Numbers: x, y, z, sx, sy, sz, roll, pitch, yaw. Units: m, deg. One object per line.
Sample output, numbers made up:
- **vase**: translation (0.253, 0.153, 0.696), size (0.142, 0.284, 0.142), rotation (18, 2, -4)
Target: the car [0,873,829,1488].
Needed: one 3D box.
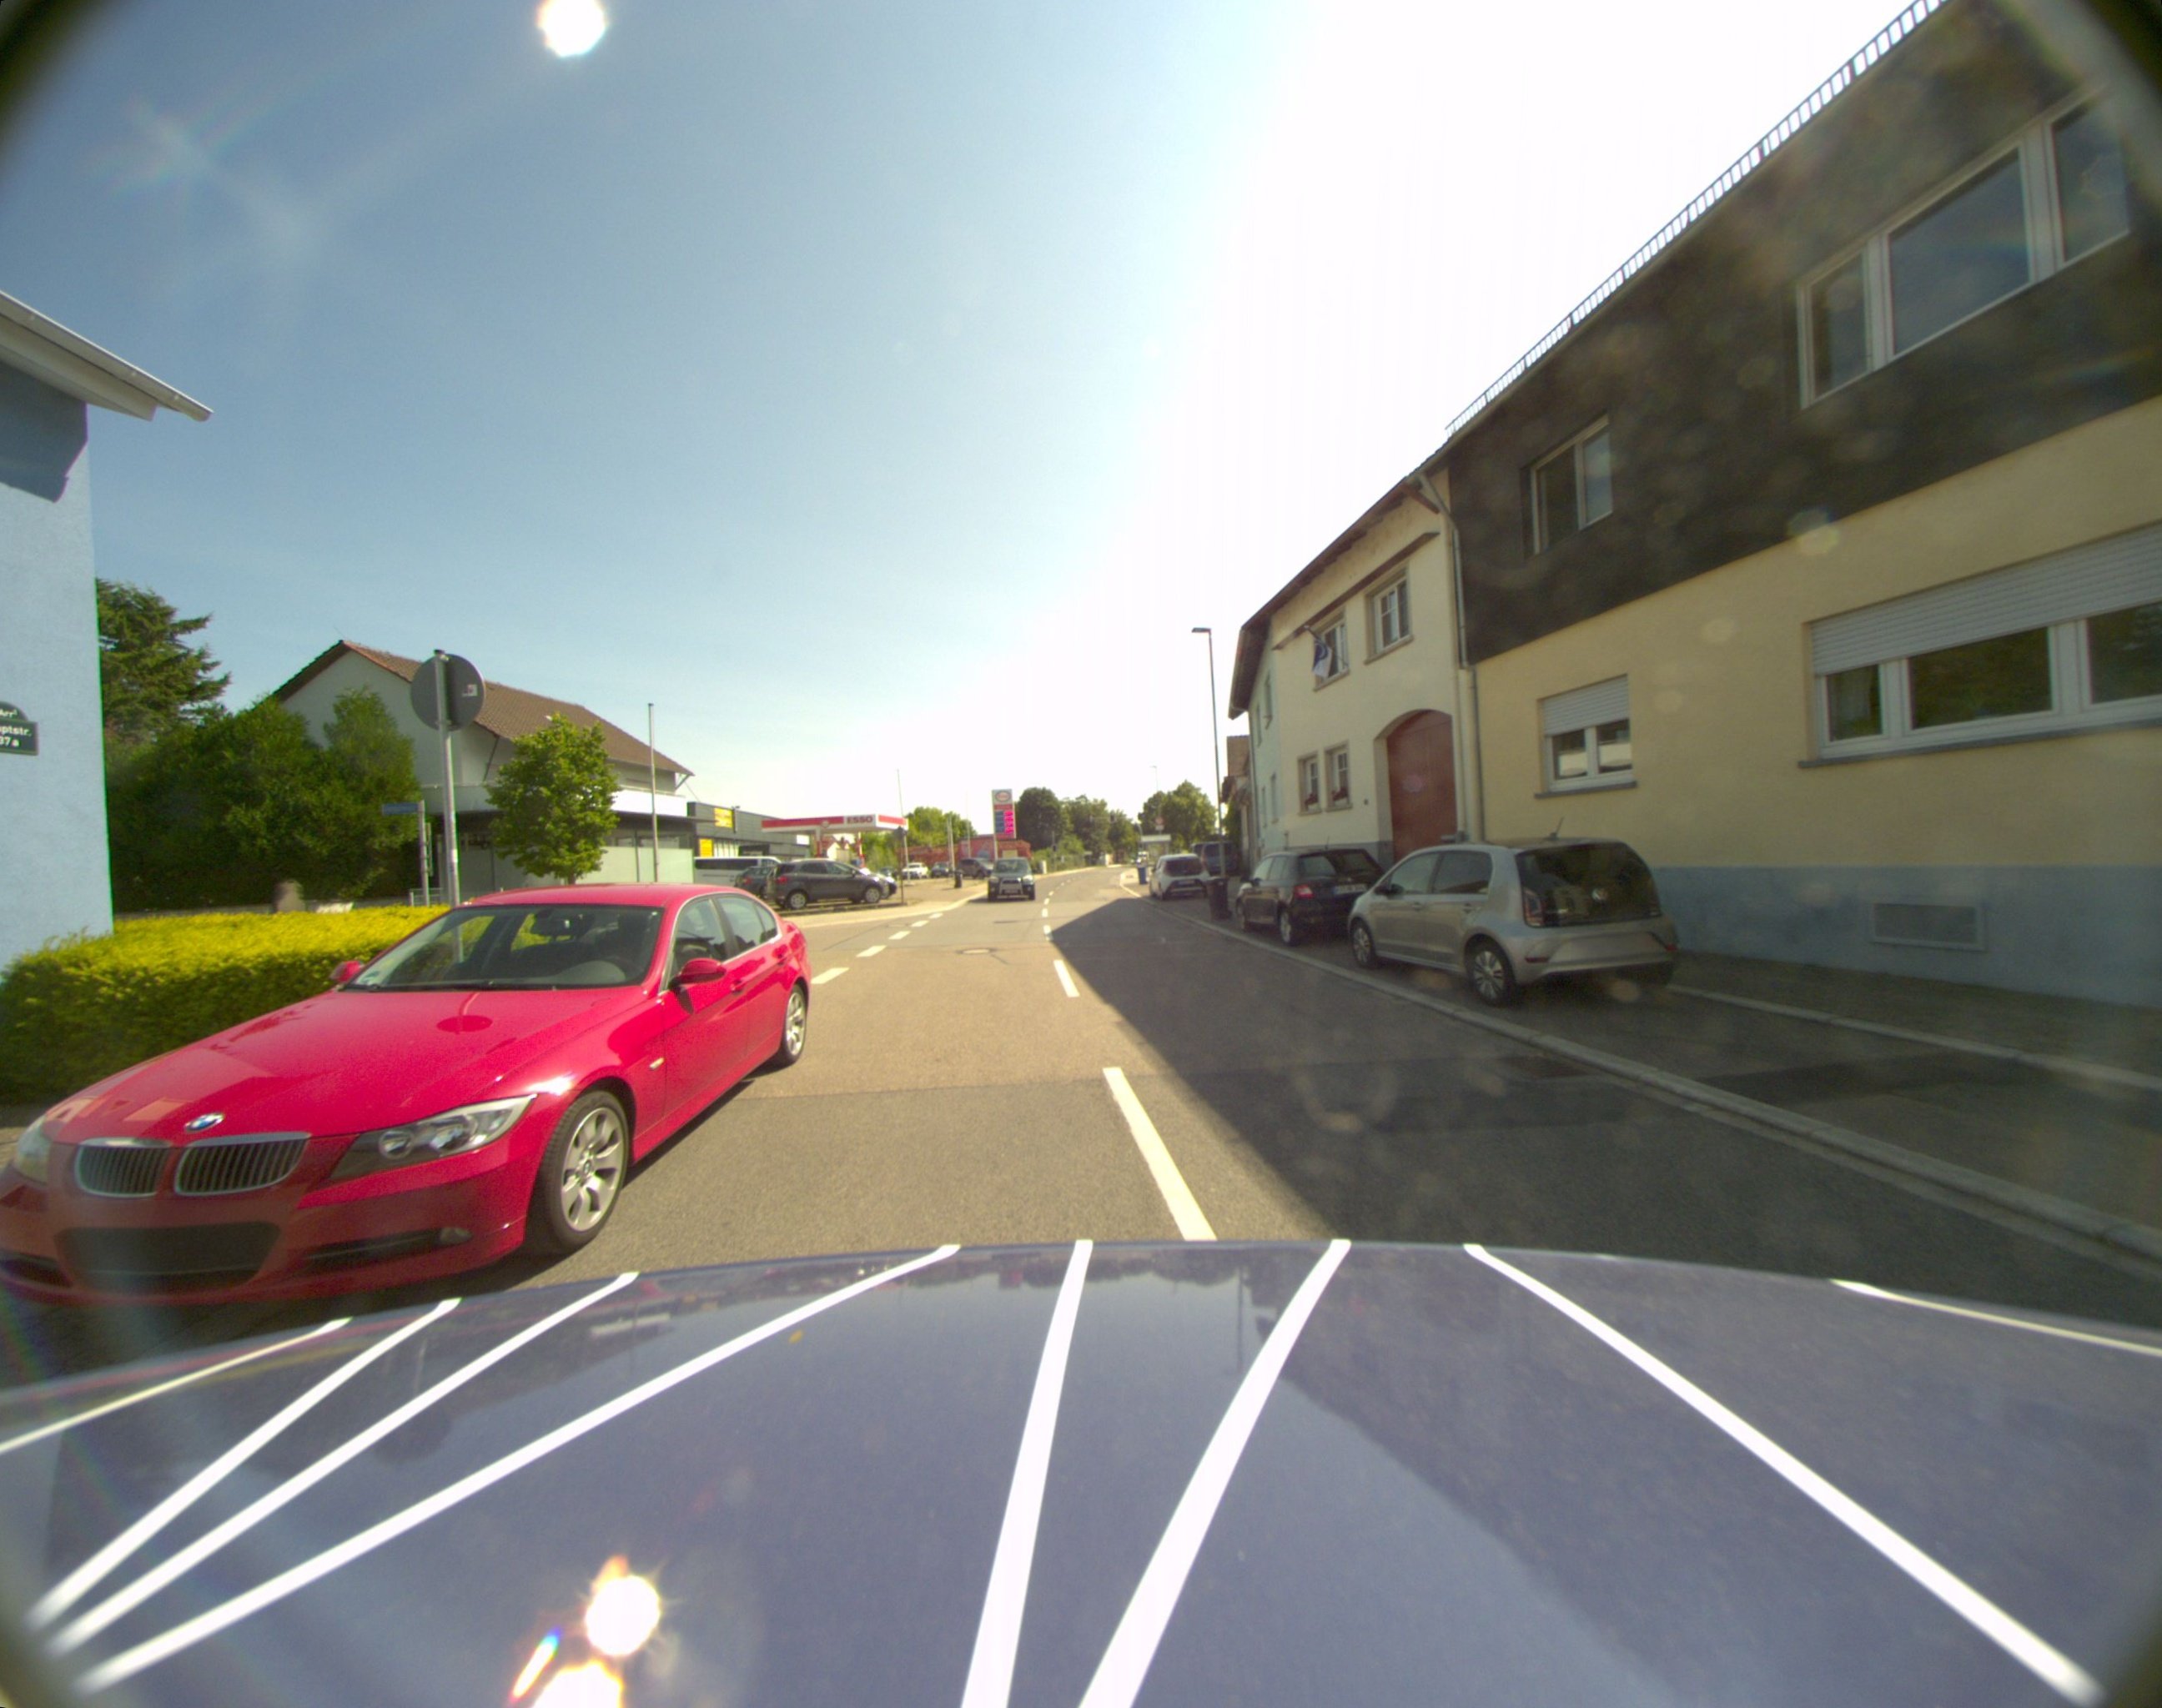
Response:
- **car**: translation (-2.914, 0.968, 4.272), size (1.737, 1.486, 4.352), rotation (-1, 1, -3)

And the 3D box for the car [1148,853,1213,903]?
- **car**: translation (3.291, 0.743, 25.750), size (1.688, 1.453, 3.649), rotation (-3, 0, 1)

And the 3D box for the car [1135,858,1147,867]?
- **car**: translation (11.732, 1.701, 147.752), size (1.844, 1.583, 4.109), rotation (-2, 0, 10)

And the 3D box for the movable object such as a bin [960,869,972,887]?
- **movable object such as a bin**: translation (-6.150, 1.272, 40.591), size (0.559, 0.931, 0.514), rotation (-2, 0, -6)

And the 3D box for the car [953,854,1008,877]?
- **car**: translation (-7.589, 0.899, 57.212), size (4.171, 1.546, 1.778), rotation (-2, 0, 43)

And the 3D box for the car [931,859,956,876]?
- **car**: translation (-13.904, 1.380, 77.170), size (1.846, 1.583, 4.105), rotation (-2, 0, -2)

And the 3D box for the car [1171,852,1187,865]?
- **car**: translation (11.183, 0.486, 86.657), size (1.718, 1.399, 4.399), rotation (-2, 1, 7)

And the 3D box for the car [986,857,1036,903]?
- **car**: translation (-2.716, 1.009, 30.369), size (1.849, 1.686, 4.397), rotation (0, -1, -3)

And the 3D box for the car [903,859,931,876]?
- **car**: translation (-16.644, 1.360, 77.291), size (2.004, 1.583, 4.337), rotation (-2, 0, -2)

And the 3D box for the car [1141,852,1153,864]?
- **car**: translation (13.801, 0.816, 159.229), size (1.937, 2.488, 5.842), rotation (-2, 0, 10)

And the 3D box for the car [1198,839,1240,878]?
- **car**: translation (7.236, 0.204, 39.595), size (1.840, 1.782, 4.346), rotation (-5, 0, 12)

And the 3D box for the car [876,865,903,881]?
- **car**: translation (-19.302, 1.889, 76.701), size (1.846, 1.378, 3.999), rotation (-2, 0, -2)

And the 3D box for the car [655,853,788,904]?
- **car**: translation (-16.282, 1.080, 34.751), size (5.292, 2.002, 2.228), rotation (-2, 0, -22)

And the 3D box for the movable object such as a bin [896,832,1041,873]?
- **movable object such as a bin**: translation (-12.864, -0.180, 87.216), size (16.088, 3.995, 2.774), rotation (-2, 0, 3)

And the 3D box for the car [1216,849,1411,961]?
- **car**: translation (3.700, 0.728, 12.880), size (1.683, 1.429, 3.994), rotation (-6, 1, -5)

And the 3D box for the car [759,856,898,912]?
- **car**: translation (-8.581, 0.986, 25.934), size (4.120, 1.643, 1.827), rotation (-2, 0, -33)

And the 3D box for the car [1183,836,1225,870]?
- **car**: translation (8.566, -0.093, 53.306), size (2.131, 1.975, 5.266), rotation (-7, 0, 3)

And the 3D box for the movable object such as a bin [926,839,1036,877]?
- **movable object such as a bin**: translation (-12.559, 0.530, 95.705), size (13.284, 4.141, 2.864), rotation (-2, 0, 3)

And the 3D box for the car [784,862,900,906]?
- **car**: translation (-9.033, 1.091, 28.800), size (3.879, 1.438, 1.747), rotation (-2, 0, -29)

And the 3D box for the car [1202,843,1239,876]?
- **car**: translation (8.169, 0.287, 44.724), size (1.971, 1.764, 4.279), rotation (-3, 0, 9)

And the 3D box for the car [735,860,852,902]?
- **car**: translation (-12.321, 1.119, 32.620), size (4.324, 1.541, 1.980), rotation (-2, 0, -33)

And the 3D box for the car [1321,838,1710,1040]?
- **car**: translation (4.140, 0.679, 8.042), size (1.645, 1.492, 3.779), rotation (-5, 1, -5)

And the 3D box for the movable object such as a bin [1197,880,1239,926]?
- **movable object such as a bin**: translation (3.000, 1.067, 16.717), size (0.553, 0.923, 0.825), rotation (-7, 1, -10)

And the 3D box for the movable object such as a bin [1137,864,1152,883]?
- **movable object such as a bin**: translation (3.216, 0.982, 38.507), size (0.559, 0.931, 0.514), rotation (-5, 1, -6)
